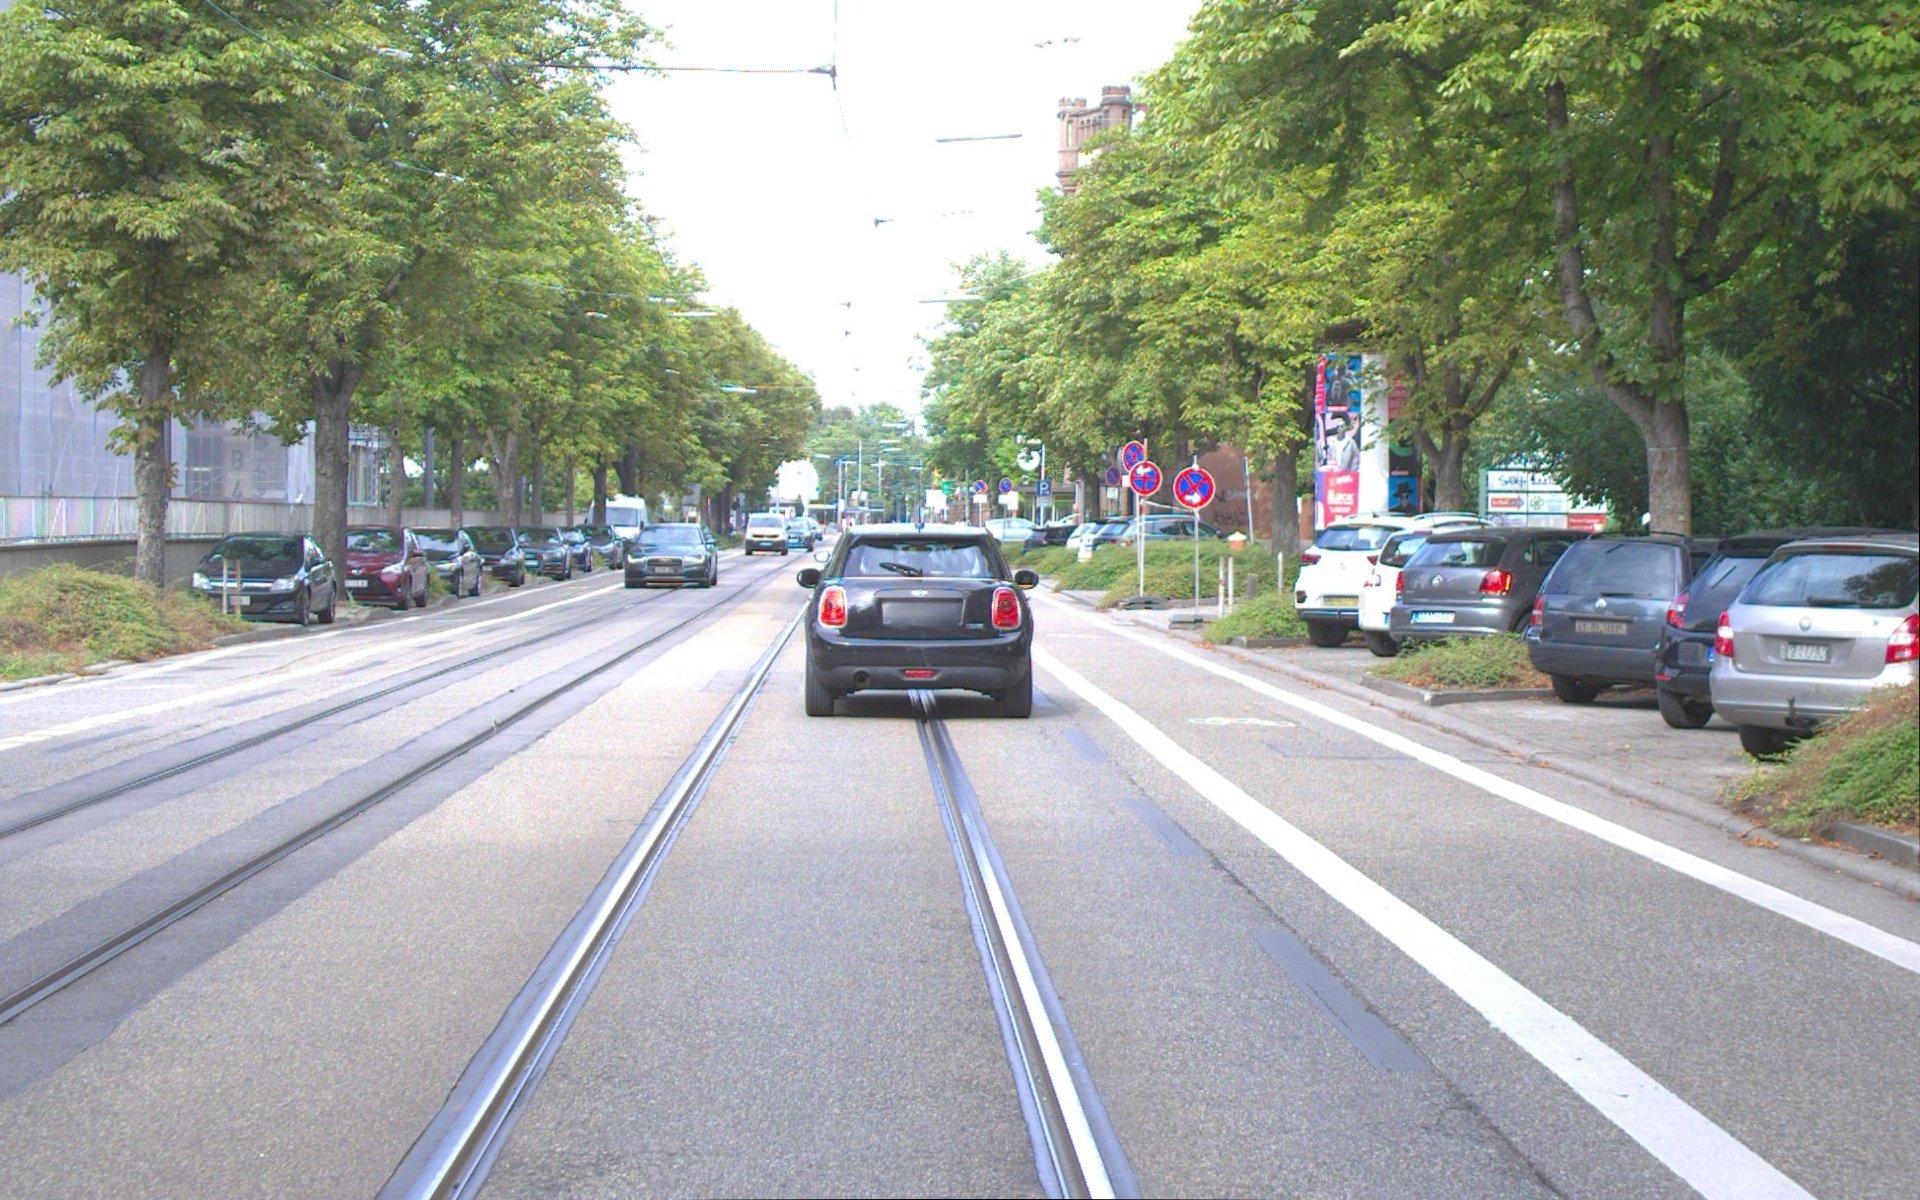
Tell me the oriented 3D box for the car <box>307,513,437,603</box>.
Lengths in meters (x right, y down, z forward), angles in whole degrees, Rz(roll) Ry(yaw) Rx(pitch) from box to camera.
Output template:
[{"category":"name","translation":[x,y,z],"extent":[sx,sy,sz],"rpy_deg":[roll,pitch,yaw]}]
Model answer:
[{"category":"car","translation":[-10.609,-0.781,62.272],"extent":[1.802,1.578,4.032],"rpy_deg":[0,1,-2]}]

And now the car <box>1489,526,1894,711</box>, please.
[{"category":"car","translation":[6.278,0.132,29.294],"extent":[1.639,1.453,3.730],"rpy_deg":[2,2,44]}]

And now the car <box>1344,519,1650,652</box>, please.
[{"category":"car","translation":[6.142,-0.178,39.177],"extent":[3.437,1.437,1.560],"rpy_deg":[0,2,-40]}]

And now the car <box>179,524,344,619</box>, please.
[{"category":"car","translation":[-10.493,-0.456,51.882],"extent":[1.802,1.369,4.032],"rpy_deg":[0,1,-2]}]

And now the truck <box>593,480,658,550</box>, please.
[{"category":"truck","translation":[-12.185,-3.101,125.533],"extent":[2.070,2.462,4.900],"rpy_deg":[0,1,-2]}]

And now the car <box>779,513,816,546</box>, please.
[{"category":"car","translation":[-8.033,-3.494,170.071],"extent":[1.802,1.616,4.485],"rpy_deg":[0,1,-2]}]

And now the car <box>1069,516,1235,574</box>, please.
[{"category":"car","translation":[4.880,-1.414,87.799],"extent":[3.986,1.420,1.885],"rpy_deg":[1,1,-4]}]

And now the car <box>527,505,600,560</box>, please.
[{"category":"car","translation":[-11.632,-1.982,101.048],"extent":[1.802,1.578,4.032],"rpy_deg":[0,1,-2]}]

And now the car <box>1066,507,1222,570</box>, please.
[{"category":"car","translation":[4.964,-1.665,93.203],"extent":[3.986,1.622,1.885],"rpy_deg":[1,1,-4]}]

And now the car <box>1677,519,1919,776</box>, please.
[{"category":"car","translation":[6.423,0.269,22.505],"extent":[1.639,1.517,3.730],"rpy_deg":[2,2,44]}]

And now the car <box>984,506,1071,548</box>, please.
[{"category":"car","translation":[3.226,-3.515,164.985],"extent":[3.986,1.904,2.000],"rpy_deg":[1,2,-4]}]

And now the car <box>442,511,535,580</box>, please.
[{"category":"car","translation":[-11.186,-1.316,81.746],"extent":[1.802,1.578,4.032],"rpy_deg":[0,1,-2]}]

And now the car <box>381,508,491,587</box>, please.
[{"category":"car","translation":[-10.805,-1.111,71.136],"extent":[1.802,1.578,4.032],"rpy_deg":[0,1,-2]}]

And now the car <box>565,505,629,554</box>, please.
[{"category":"car","translation":[-11.842,-2.306,112.449],"extent":[1.802,1.578,4.032],"rpy_deg":[0,1,-2]}]

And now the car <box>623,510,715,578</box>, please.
[{"category":"car","translation":[-6.470,-1.275,76.909],"extent":[1.834,1.443,4.554],"rpy_deg":[1,1,-2]}]

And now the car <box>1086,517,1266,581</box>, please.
[{"category":"car","translation":[5.066,-1.214,80.902],"extent":[3.986,1.420,1.885],"rpy_deg":[1,1,-4]}]

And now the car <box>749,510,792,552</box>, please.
[{"category":"car","translation":[-8.283,-3.014,150.365],"extent":[1.802,1.817,4.485],"rpy_deg":[0,1,-2]}]

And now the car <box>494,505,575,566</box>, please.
[{"category":"car","translation":[-11.343,-1.725,91.936],"extent":[1.802,1.578,4.032],"rpy_deg":[0,1,-2]}]

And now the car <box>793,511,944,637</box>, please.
[{"category":"car","translation":[-1.198,-0.368,44.119],"extent":[1.793,1.465,4.001],"rpy_deg":[2,1,-2]}]

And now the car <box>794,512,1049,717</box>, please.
[{"category":"car","translation":[-0.352,0.053,26.662],"extent":[1.793,1.418,4.001],"rpy_deg":[1,1,-2]}]

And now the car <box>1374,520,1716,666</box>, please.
[{"category":"car","translation":[6.158,-0.088,36.050],"extent":[3.525,1.437,1.623],"rpy_deg":[0,2,-40]}]

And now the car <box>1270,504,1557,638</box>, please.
[{"category":"car","translation":[5.578,-0.367,42.158],"extent":[3.437,1.567,1.560],"rpy_deg":[0,2,-40]}]

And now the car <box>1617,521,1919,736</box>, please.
[{"category":"car","translation":[6.816,0.193,26.555],"extent":[1.639,1.517,3.730],"rpy_deg":[2,2,44]}]
